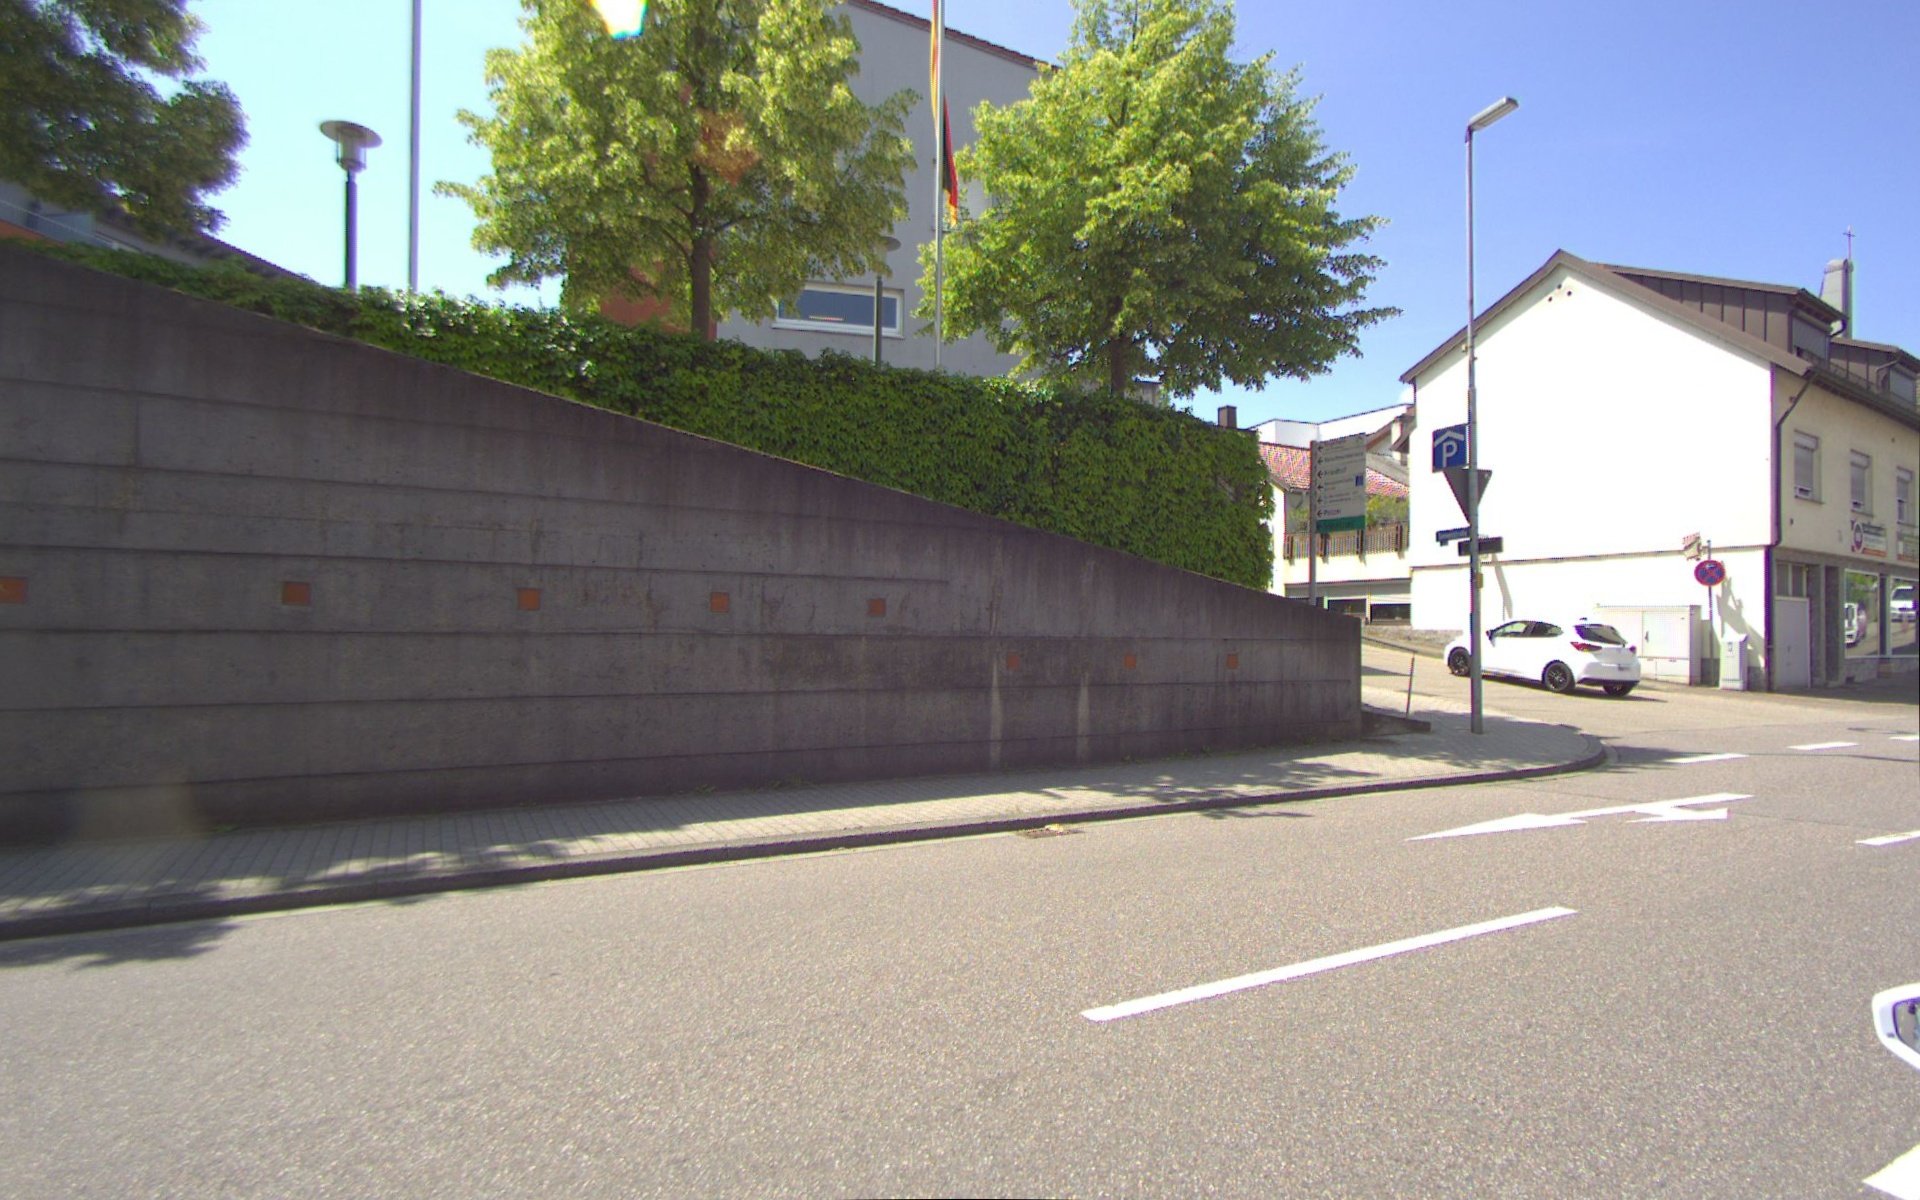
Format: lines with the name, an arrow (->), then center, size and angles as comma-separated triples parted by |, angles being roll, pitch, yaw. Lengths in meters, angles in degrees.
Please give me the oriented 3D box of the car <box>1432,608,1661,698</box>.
car -> 12.139, 1.030, 21.118 | 1.784, 1.487, 3.985 | 1, 2, -16
